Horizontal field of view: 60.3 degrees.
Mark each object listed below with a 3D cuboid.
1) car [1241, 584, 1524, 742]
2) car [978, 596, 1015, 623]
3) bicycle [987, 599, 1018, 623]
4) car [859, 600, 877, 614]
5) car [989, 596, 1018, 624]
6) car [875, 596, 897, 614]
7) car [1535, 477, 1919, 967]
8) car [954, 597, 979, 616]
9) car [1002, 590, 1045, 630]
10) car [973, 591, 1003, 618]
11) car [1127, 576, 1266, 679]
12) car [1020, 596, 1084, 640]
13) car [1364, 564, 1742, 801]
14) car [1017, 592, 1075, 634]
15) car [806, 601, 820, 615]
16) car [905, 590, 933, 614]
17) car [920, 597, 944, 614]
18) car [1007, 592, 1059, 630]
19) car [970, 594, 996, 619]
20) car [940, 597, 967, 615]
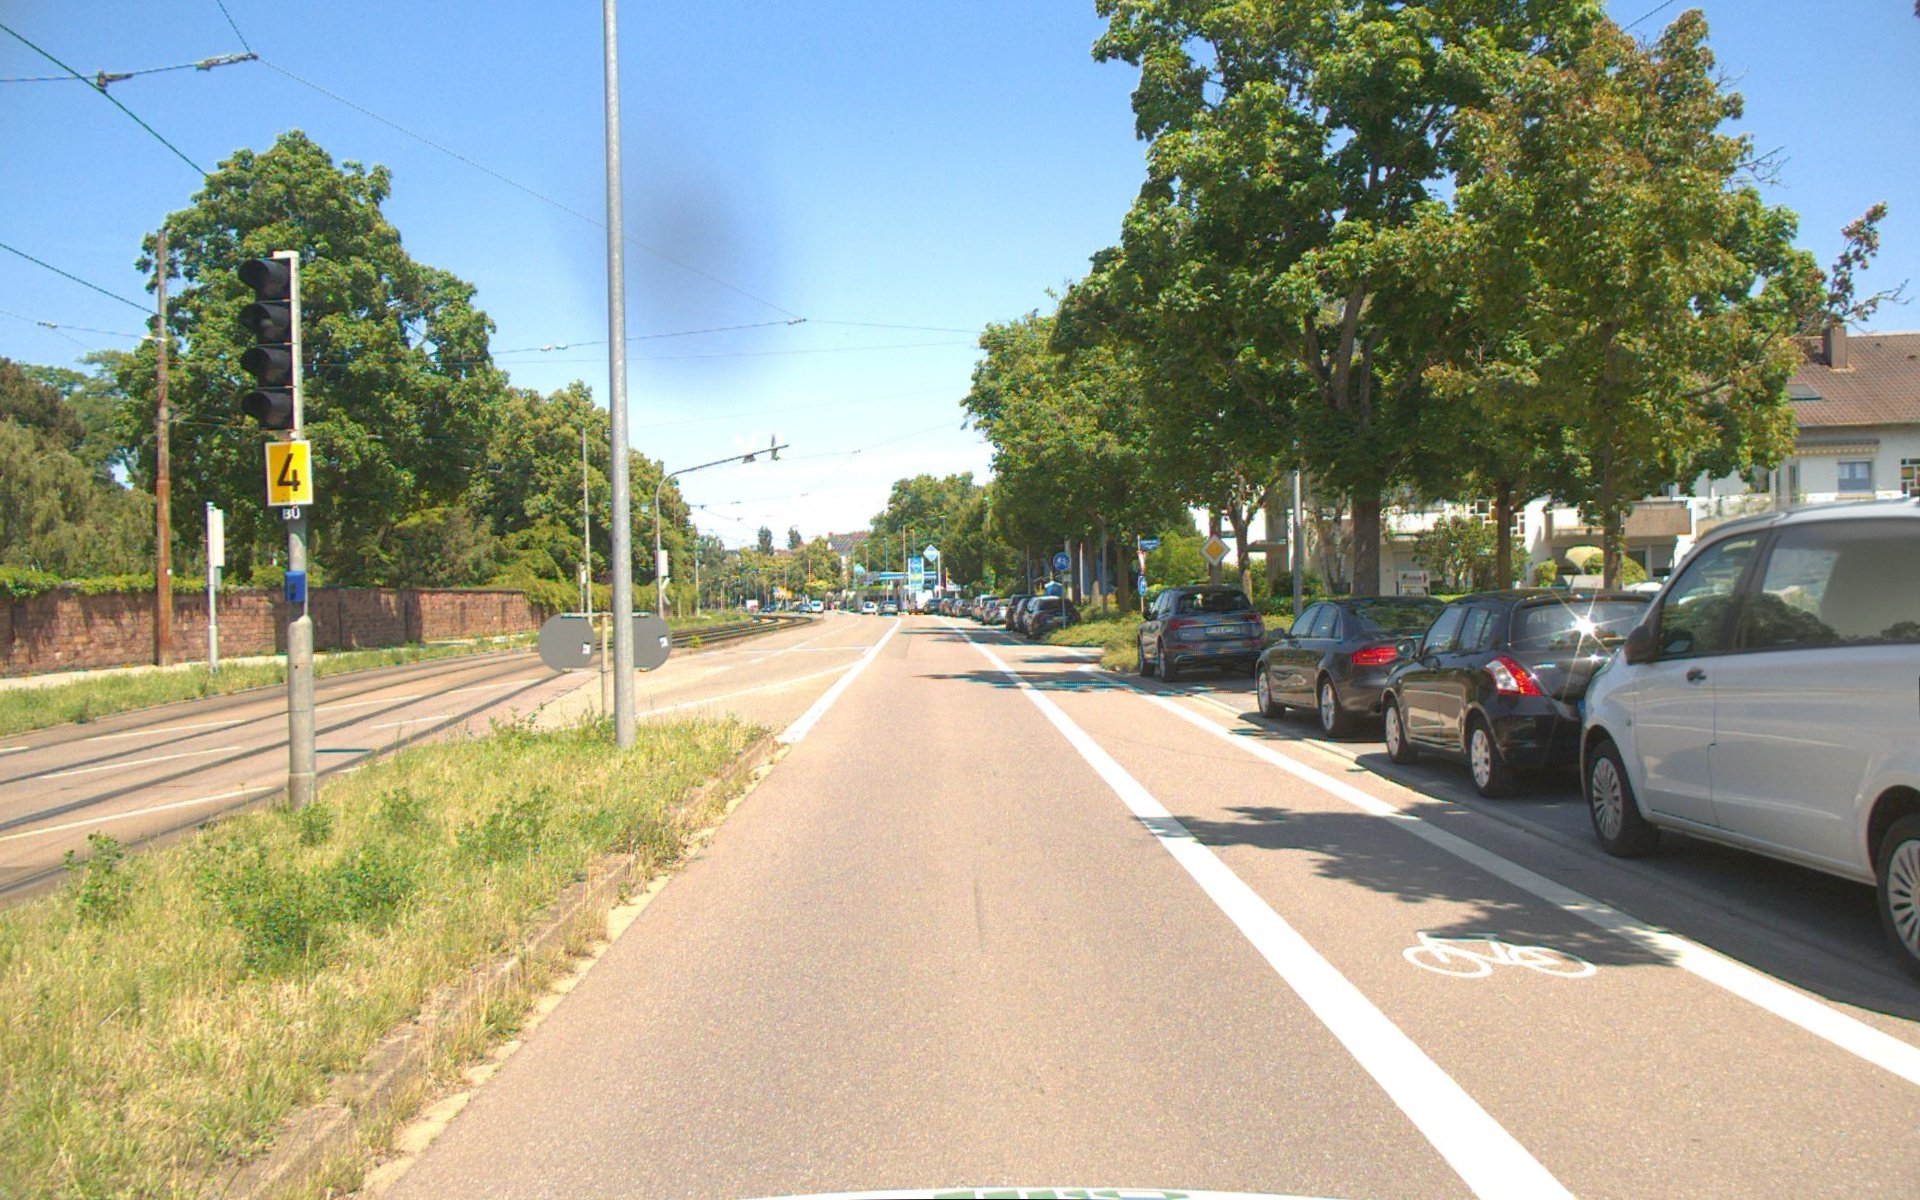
[{"bbox_3d":[4.568,0.614,18.647,1.678,1.443,4.705,-4,0,-3],"label":"car"},{"bbox_3d":[2.322,0.606,106.661,1.805,1.556,4.962,-4,0,-4],"label":"car"},{"bbox_3d":[2.575,0.665,99.621,1.737,1.249,0.684,-6,-1,3],"label":"bicycle"},{"bbox_3d":[-11.462,0.890,206.085,1.723,1.658,4.315,-4,0,-9],"label":"car"},{"bbox_3d":[2.673,0.595,101.663,1.488,1.556,3.815,-4,0,-1],"label":"car"},{"bbox_3d":[-7.383,0.539,165.618,1.723,1.658,4.316,-4,0,-8],"label":"car"},{"bbox_3d":[4.695,0.412,7.945,1.957,1.911,5.276,-4,0,0],"label":"car"},{"bbox_3d":[0.533,0.550,144.631,1.674,1.518,5.032,-4,0,-5],"label":"car"},{"bbox_3d":[3.023,0.461,79.751,1.803,1.736,4.626,-4,0,0],"label":"car"},{"bbox_3d":[2.065,0.337,121.634,1.804,1.825,4.351,-4,0,-3],"label":"car"},{"bbox_3d":[4.275,0.491,30.539,1.678,1.661,4.706,-4,0,-2],"label":"car"},{"bbox_3d":[3.404,0.637,62.156,1.804,1.461,4.821,-4,0,-3],"label":"car"},{"bbox_3d":[4.665,0.569,13.621,1.677,1.567,3.840,-4,0,0],"label":"car"},{"bbox_3d":[3.542,0.519,68.561,1.805,1.556,4.202,-4,0,-4],"label":"car"},{"bbox_3d":[-22.677,1.221,254.929,1.724,1.907,4.313,-4,0,-10],"label":"car"},{"bbox_3d":[-4.521,0.244,181.673,1.966,2.499,6.092,-4,0,-11],"label":"car"},{"bbox_3d":[-2.904,0.576,171.602,1.724,1.658,4.313,-4,0,-10],"label":"car"},{"bbox_3d":[3.247,0.468,74.120,1.804,1.556,4.350,-4,0,-4],"label":"car"},{"bbox_3d":[1.769,0.477,127.811,1.803,1.723,4.777,-4,0,-1],"label":"car"},{"bbox_3d":[-0.613,0.560,155.779,1.676,1.589,4.312,-4,0,-11],"label":"car"}]
